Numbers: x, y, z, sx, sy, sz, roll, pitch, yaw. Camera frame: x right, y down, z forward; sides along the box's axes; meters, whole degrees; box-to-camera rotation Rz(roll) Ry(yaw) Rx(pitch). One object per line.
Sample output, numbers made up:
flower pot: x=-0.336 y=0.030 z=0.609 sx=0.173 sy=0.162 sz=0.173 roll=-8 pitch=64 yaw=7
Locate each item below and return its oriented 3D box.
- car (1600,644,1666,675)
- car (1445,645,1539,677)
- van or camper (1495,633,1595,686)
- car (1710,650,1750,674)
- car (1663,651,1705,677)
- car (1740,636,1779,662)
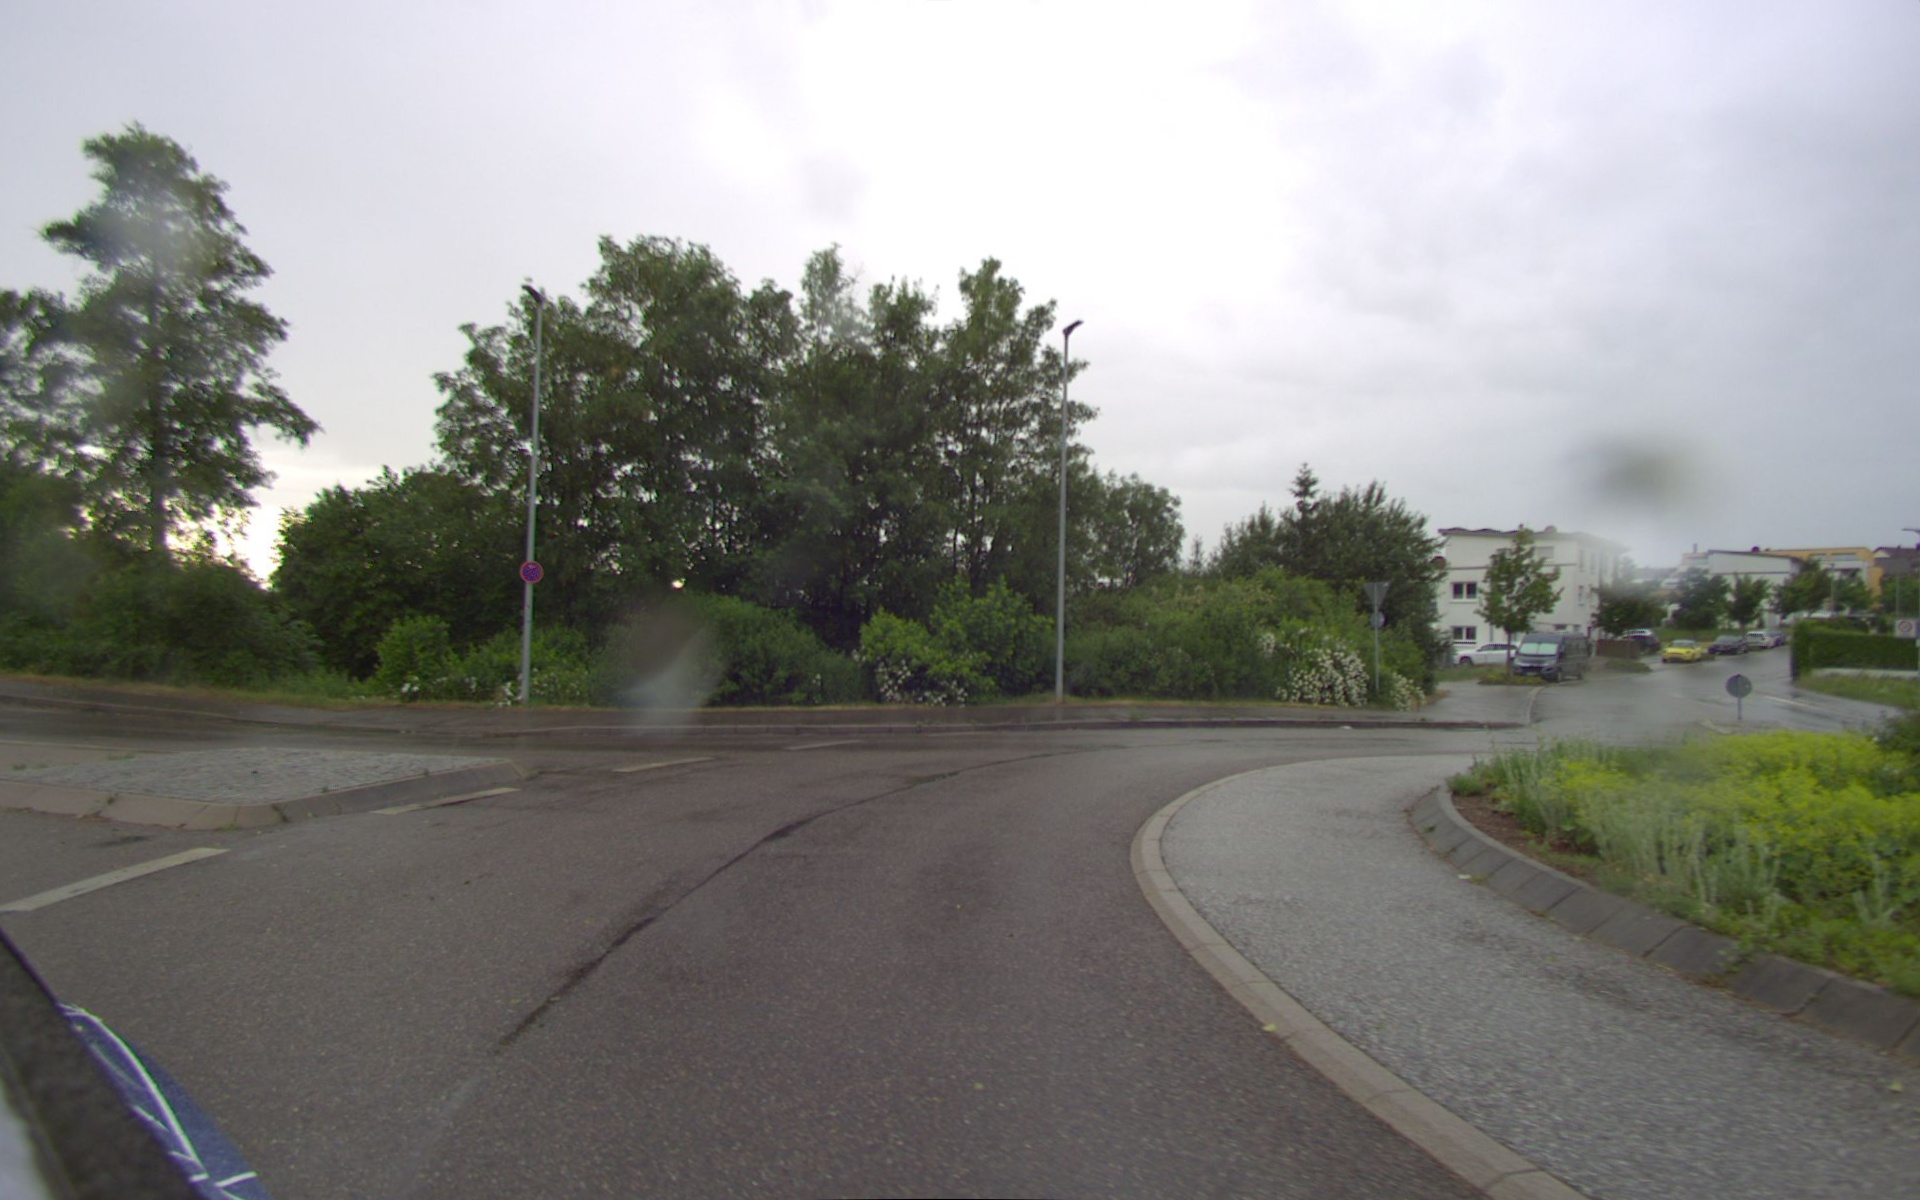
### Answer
car: x=48.354 y=4.239 z=72.748 sx=3.714 sy=2.029 sz=1.731 roll=1 pitch=-3 yaw=41
car: x=32.155 y=3.669 z=61.241 sx=1.991 sy=1.761 sz=4.675 roll=3 pitch=-3 yaw=-43
van or camper: x=29.975 y=3.027 z=51.739 sx=6.110 sy=2.512 sz=2.536 roll=3 pitch=-2 yaw=-40
car: x=59.086 y=4.744 z=77.648 sx=3.940 sy=1.747 sz=1.877 roll=3 pitch=-2 yaw=-44
car: x=49.354 y=4.323 z=68.982 sx=3.521 sy=1.670 sz=1.688 roll=3 pitch=-3 yaw=-43
car: x=67.291 y=4.126 z=85.164 sx=3.939 sy=2.029 sz=2.002 roll=3 pitch=-3 yaw=-43
